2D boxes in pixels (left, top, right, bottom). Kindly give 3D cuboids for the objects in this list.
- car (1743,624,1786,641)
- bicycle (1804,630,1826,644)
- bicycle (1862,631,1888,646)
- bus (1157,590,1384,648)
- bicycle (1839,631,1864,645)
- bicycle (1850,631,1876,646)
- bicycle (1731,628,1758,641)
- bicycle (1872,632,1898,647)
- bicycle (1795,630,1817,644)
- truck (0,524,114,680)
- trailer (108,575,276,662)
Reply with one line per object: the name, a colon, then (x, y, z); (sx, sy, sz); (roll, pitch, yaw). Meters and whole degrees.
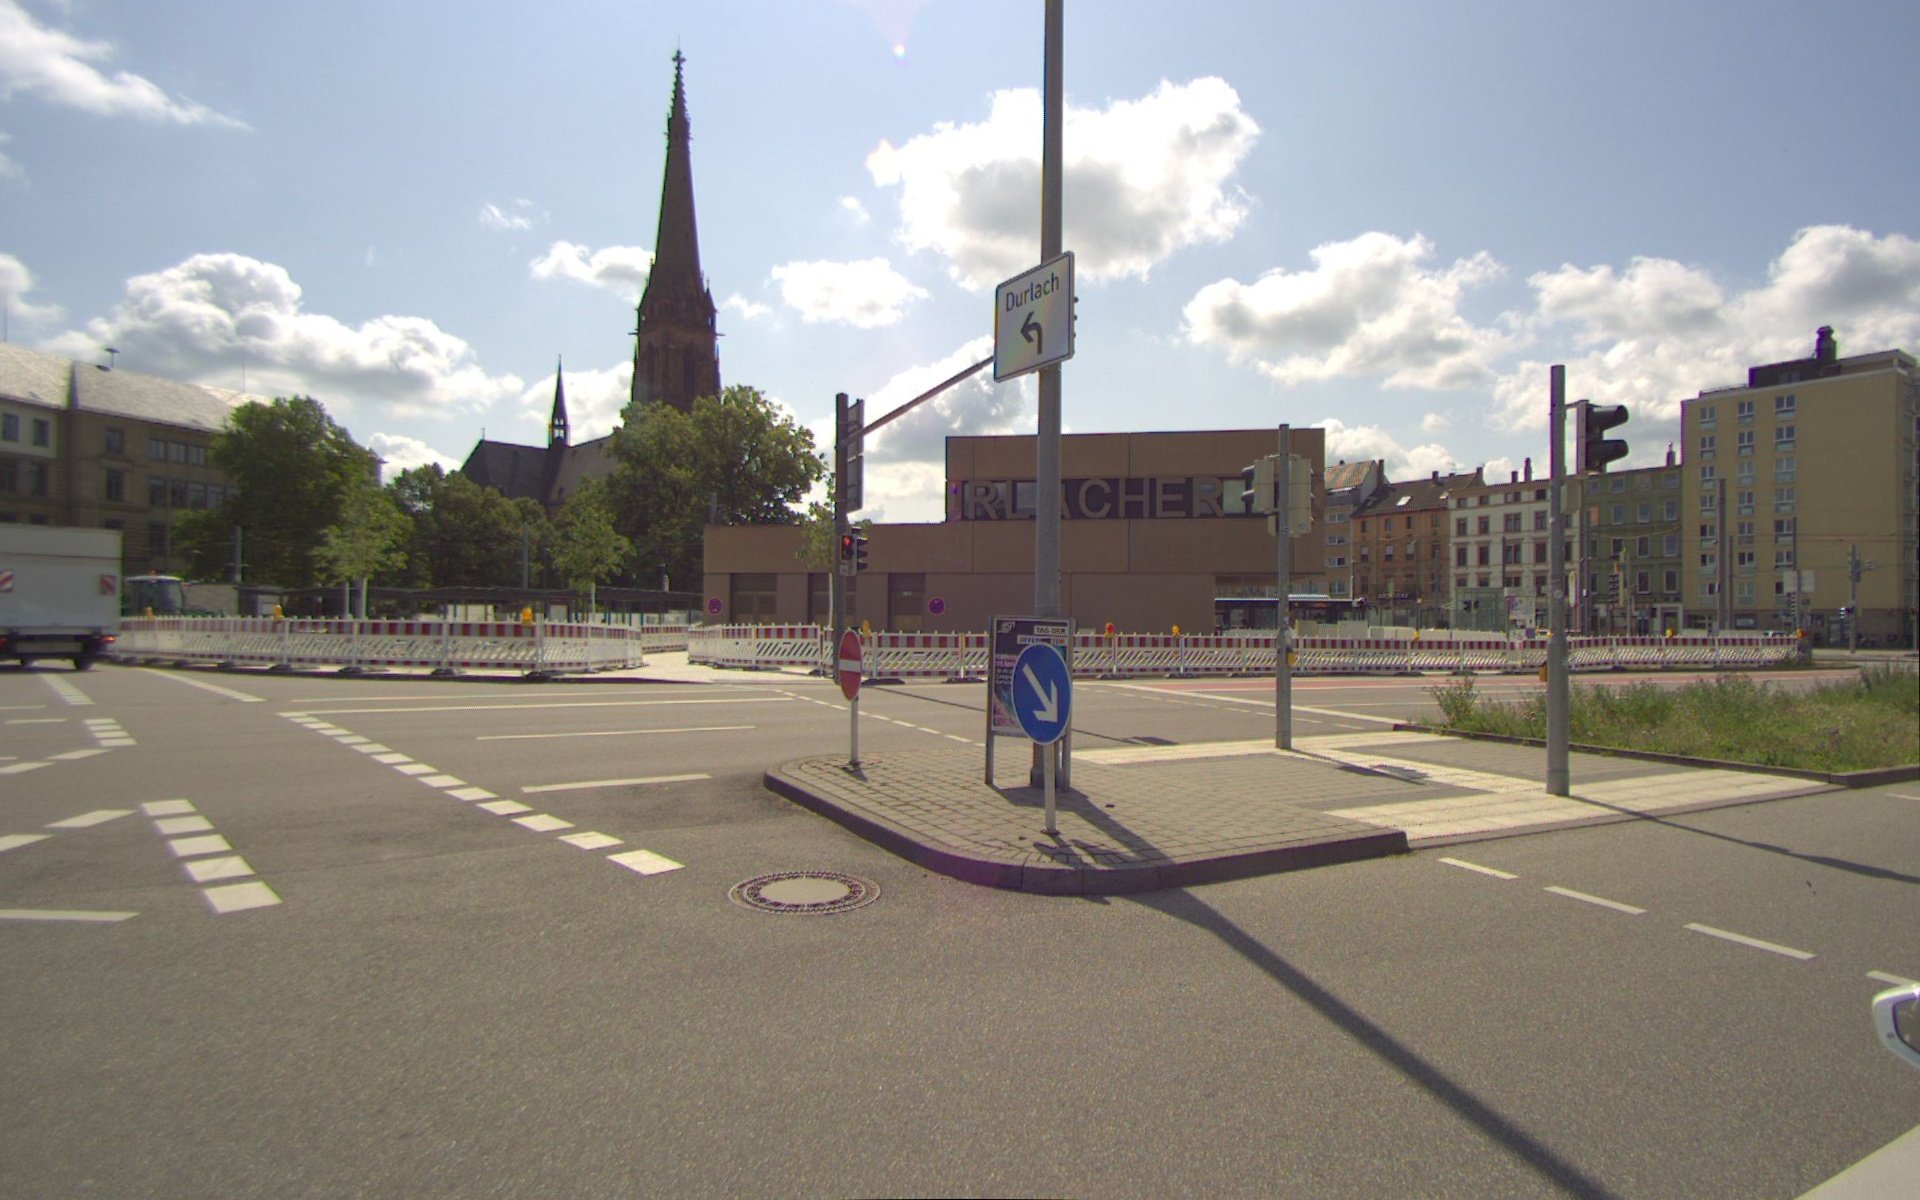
car: (66.476, 2.655, 83.031); (1.625, 1.338, 3.357); (0, -1, 18)
bicycle: (73.800, 3.172, 86.740); (0.501, 1.162, 2.136); (1, 0, 12)
bicycle: (76.104, 3.217, 83.576); (0.523, 1.162, 2.136); (1, 0, 10)
bus: (17.339, 1.043, 56.974); (12.017, 2.897, 2.597); (2, 0, 10)
bicycle: (74.978, 3.188, 84.458); (0.501, 1.162, 2.136); (1, 0, 9)
bicycle: (75.543, 3.192, 84.051); (0.501, 1.162, 2.136); (1, 0, 9)
bicycle: (71.120, 3.125, 91.072); (0.521, 1.162, 1.932); (2, 0, -28)
bicycle: (76.665, 3.244, 83.261); (0.501, 1.162, 2.136); (1, 0, 9)
bicycle: (73.328, 3.167, 87.089); (0.501, 1.162, 2.136); (1, 0, 12)
truck: (-21.658, -0.005, 22.804); (7.209, 3.108, 1.993); (1, 0, 36)
trailer: (-27.520, 0.660, 36.127); (4.284, 2.952, 1.998); (2, 0, -6)
